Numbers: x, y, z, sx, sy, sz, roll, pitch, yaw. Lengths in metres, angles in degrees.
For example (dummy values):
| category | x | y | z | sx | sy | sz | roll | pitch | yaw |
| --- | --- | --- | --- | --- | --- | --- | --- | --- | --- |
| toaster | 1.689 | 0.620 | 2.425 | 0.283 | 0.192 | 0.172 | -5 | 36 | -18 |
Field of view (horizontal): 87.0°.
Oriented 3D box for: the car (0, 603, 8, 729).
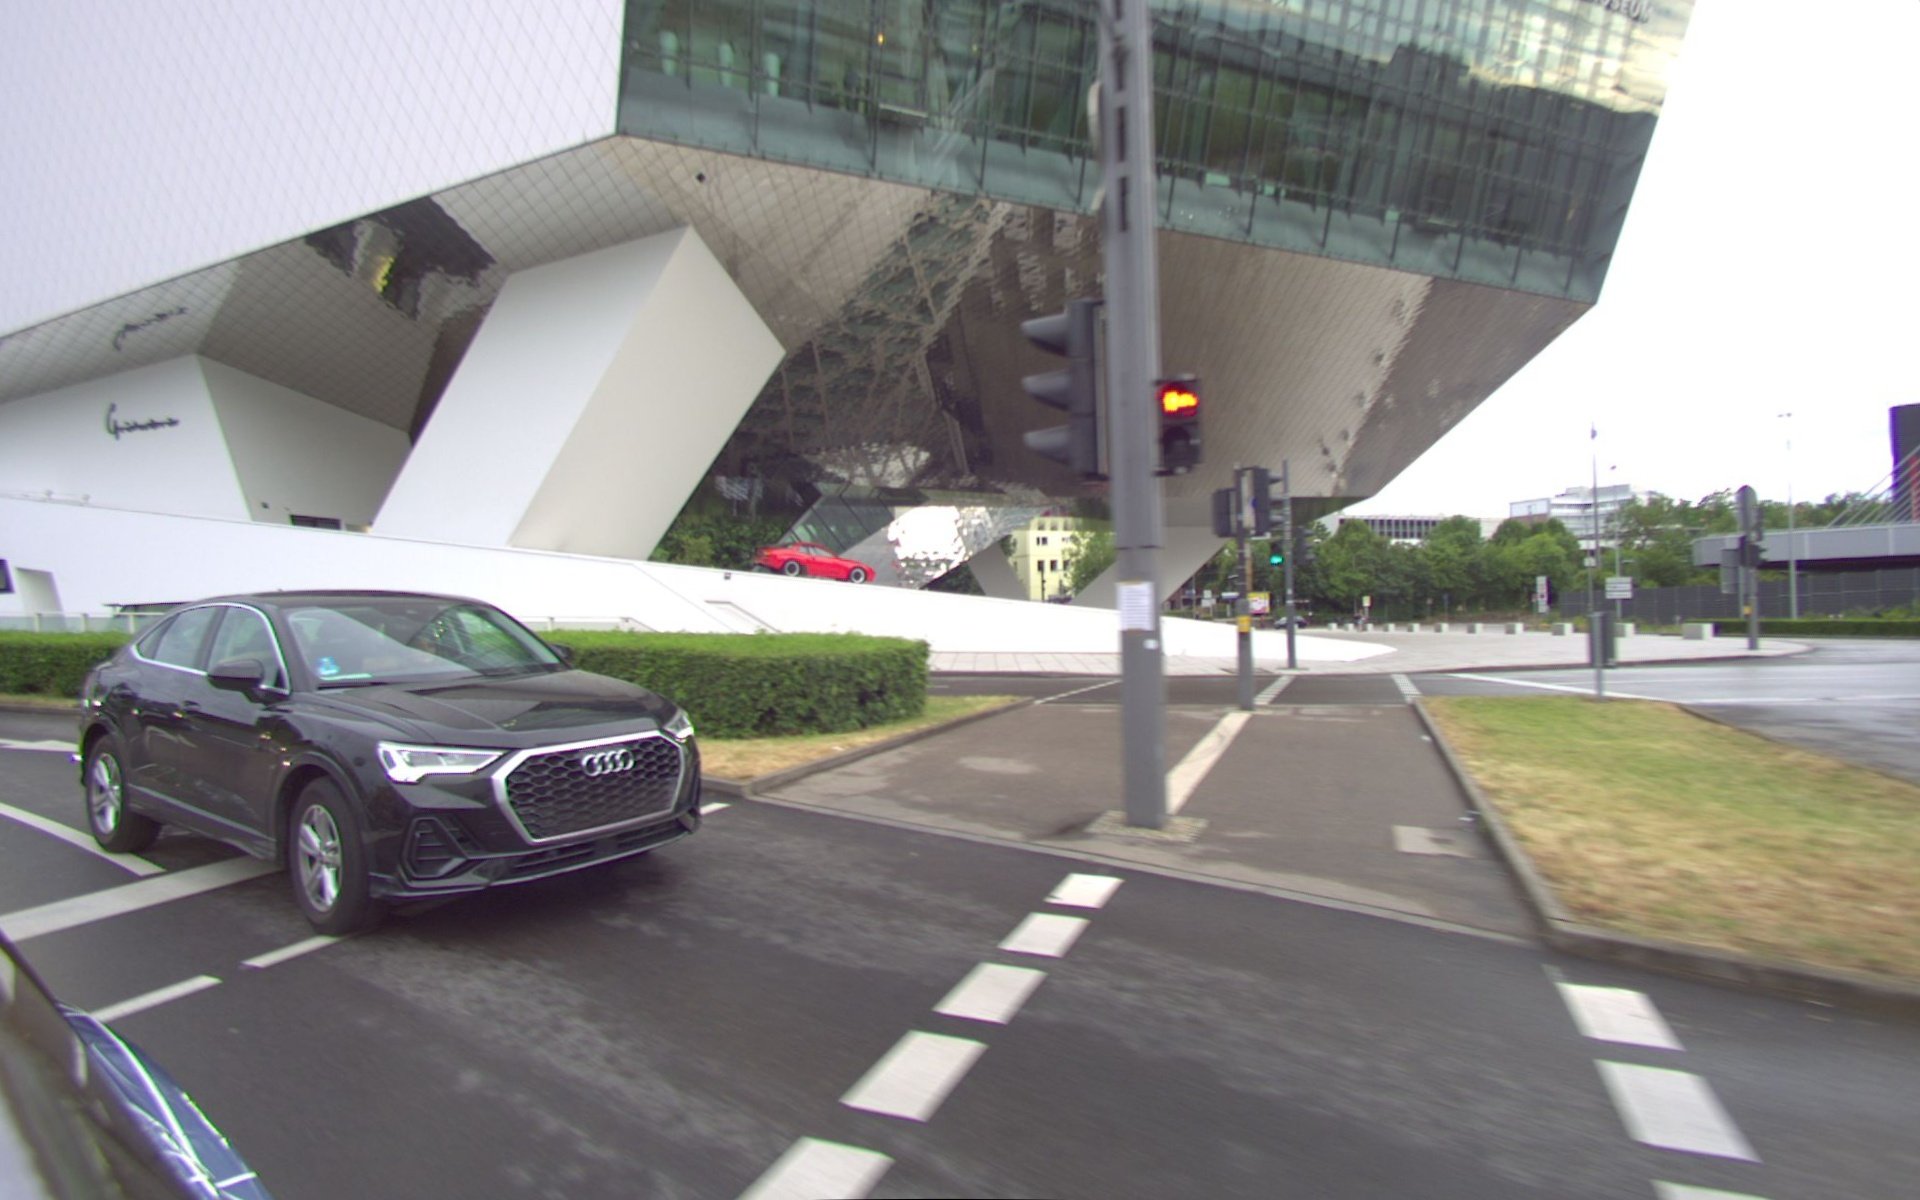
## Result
| category | x | y | z | sx | sy | sz | roll | pitch | yaw |
| --- | --- | --- | --- | --- | --- | --- | --- | --- | --- |
| car | -13.341 | 0.786 | 11.703 | 4.273 | 1.449 | 1.805 | 0 | 1 | 23 |

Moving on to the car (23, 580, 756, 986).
| category | x | y | z | sx | sy | sz | roll | pitch | yaw |
| --- | --- | --- | --- | --- | --- | --- | --- | --- | --- |
| car | -3.383 | 0.679 | 5.732 | 4.380 | 1.529 | 1.739 | 0 | 1 | 32 |

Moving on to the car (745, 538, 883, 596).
| category | x | y | z | sx | sy | sz | roll | pitch | yaw |
| --- | --- | --- | --- | --- | --- | --- | --- | --- | --- |
| car | -5.034 | -1.089 | 34.905 | 4.173 | 1.395 | 2.006 | 7 | -4 | -26 |
